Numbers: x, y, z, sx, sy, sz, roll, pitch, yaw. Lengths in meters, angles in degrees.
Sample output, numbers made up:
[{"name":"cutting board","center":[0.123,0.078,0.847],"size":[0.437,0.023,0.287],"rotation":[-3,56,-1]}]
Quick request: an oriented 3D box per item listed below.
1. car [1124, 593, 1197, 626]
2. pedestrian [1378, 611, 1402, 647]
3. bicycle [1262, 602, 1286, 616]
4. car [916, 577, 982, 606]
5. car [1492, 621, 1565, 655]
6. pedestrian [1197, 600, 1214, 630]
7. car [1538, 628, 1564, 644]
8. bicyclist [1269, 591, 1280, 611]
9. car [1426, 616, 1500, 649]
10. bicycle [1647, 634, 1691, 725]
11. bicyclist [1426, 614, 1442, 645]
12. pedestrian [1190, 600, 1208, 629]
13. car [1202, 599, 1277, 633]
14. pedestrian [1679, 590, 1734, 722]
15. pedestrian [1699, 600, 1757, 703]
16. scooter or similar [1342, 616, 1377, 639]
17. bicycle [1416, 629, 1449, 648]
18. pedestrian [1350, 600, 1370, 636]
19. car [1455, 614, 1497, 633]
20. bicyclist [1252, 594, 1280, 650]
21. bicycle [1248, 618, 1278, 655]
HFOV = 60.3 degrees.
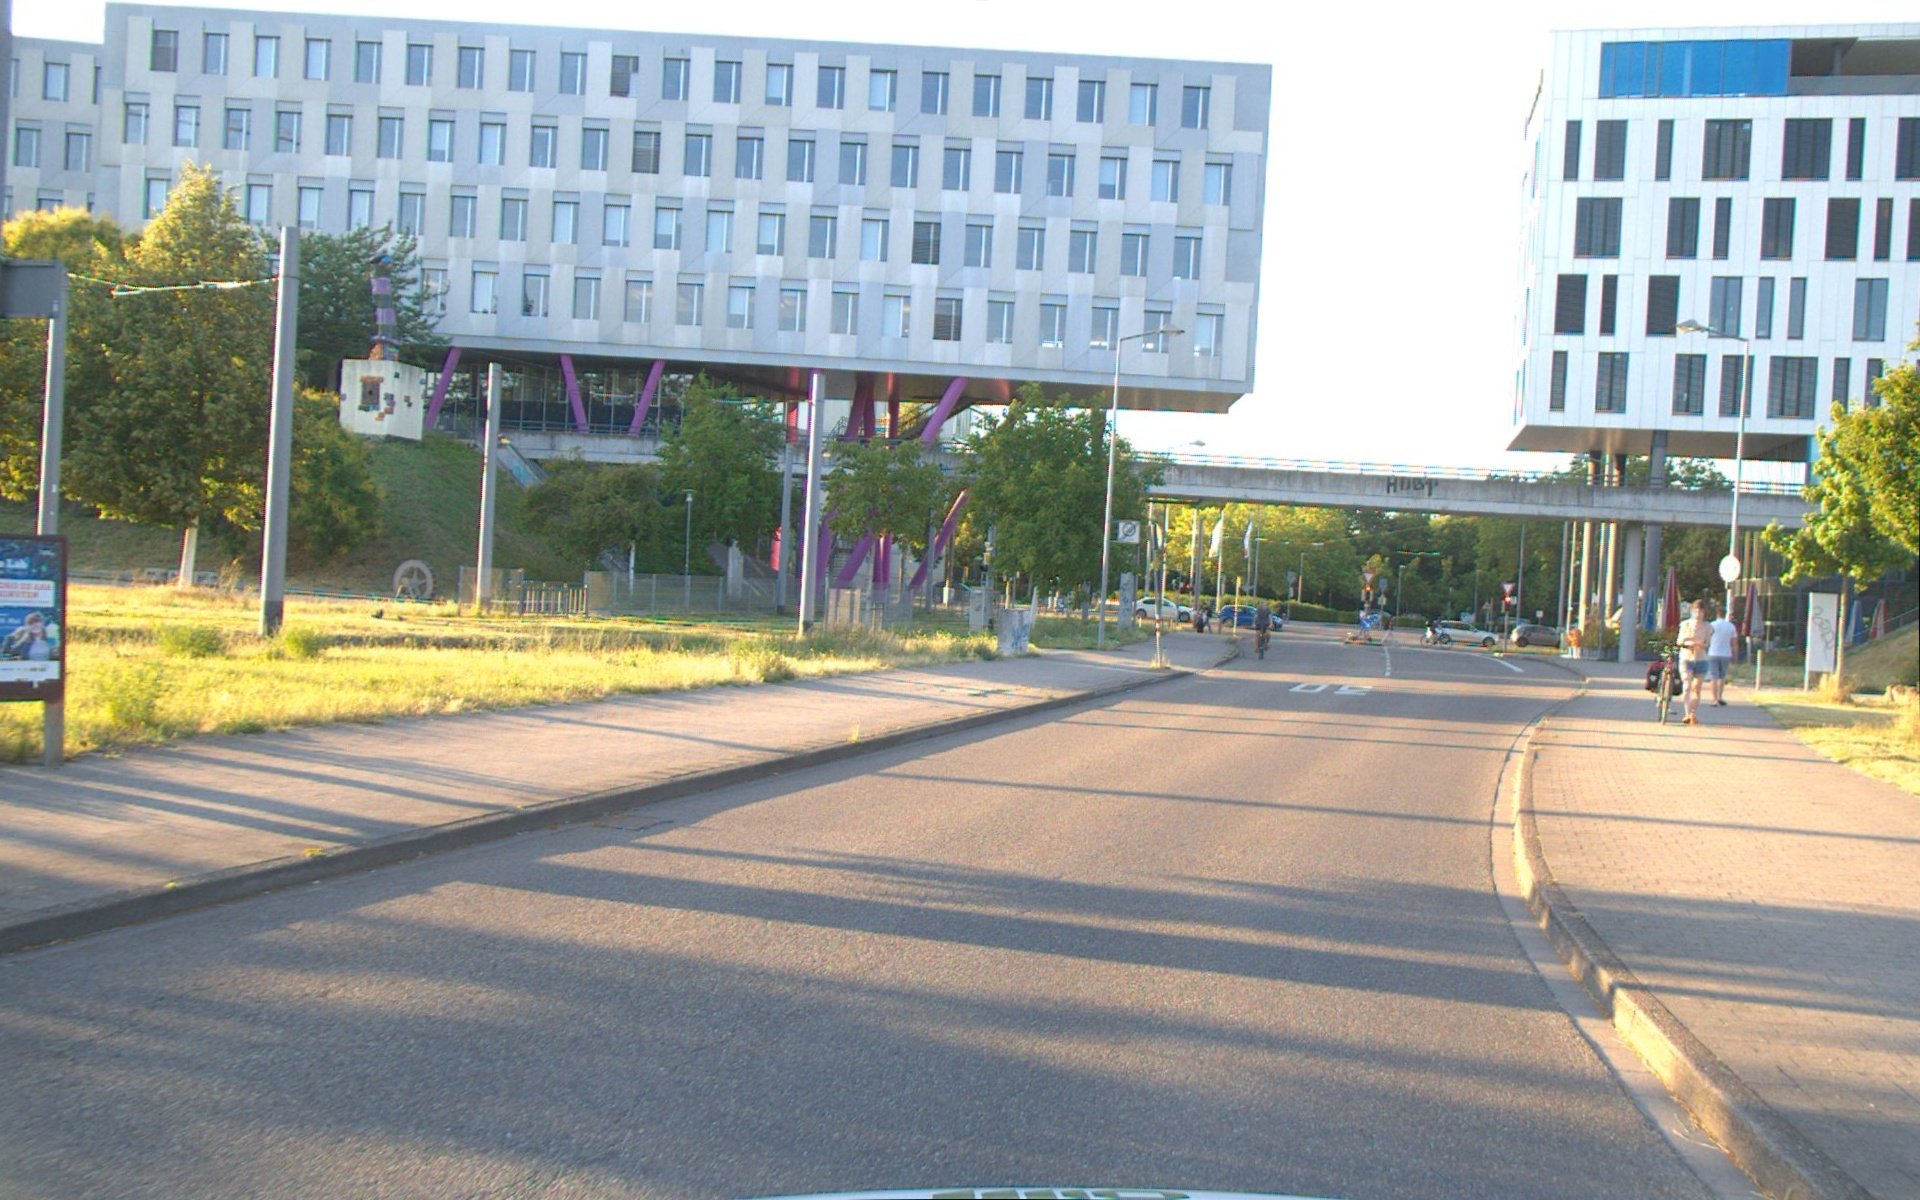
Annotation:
[{"name":"car","center":[13.552,0.643,111.879],"size":[4.589,1.859,1.836],"rotation":[4,2,16]},{"name":"pedestrian","center":[23.970,1.612,92.303],"size":[1.032,1.865,0.895],"rotation":[3,1,2]},{"name":"bicycle","center":[27.794,0.772,146.463],"size":[1.927,1.147,0.559],"rotation":[3,1,-10]},{"name":"car","center":[-0.814,-0.619,120.972],"size":[4.373,1.848,1.947],"rotation":[4,2,14]},{"name":"car","center":[36.746,2.455,107.036],"size":[4.321,1.830,1.836],"rotation":[4,2,16]},{"name":"pedestrian","center":[14.195,0.866,95.644],"size":[0.688,1.692,0.710],"rotation":[4,2,32]},{"name":"car","center":[62.852,3.832,175.881],"size":[1.475,1.634,3.383],"rotation":[4,2,41]},{"name":"bicyclist","center":[27.878,0.095,146.447],"size":[0.743,1.752,0.551],"rotation":[3,1,-10]},{"name":"car","center":[31.979,2.077,105.297],"size":[4.321,1.754,1.836],"rotation":[4,2,14]},{"name":"bicycle","center":[10.264,1.126,23.973],"size":[0.441,1.189,1.941],"rotation":[4,2,21]},{"name":"bicyclist","center":[27.007,1.671,94.216],"size":[0.750,1.734,0.513],"rotation":[3,1,8]},{"name":"pedestrian","center":[13.716,0.824,94.909],"size":[0.674,1.652,0.710],"rotation":[4,2,32]},{"name":"car","center":[18.111,1.029,107.439],"size":[4.614,1.859,1.894],"rotation":[4,1,6]},{"name":"pedestrian","center":[10.766,0.793,23.866],"size":[0.582,1.833,0.818],"rotation":[4,1,22]},{"name":"pedestrian","center":[13.931,0.918,30.013],"size":[0.815,1.797,0.818],"rotation":[4,1,22]},{"name":"scooter or similar","center":[22.986,1.568,95.156],"size":[1.820,1.194,0.765],"rotation":[4,1,7]},{"name":"bicycle","center":[26.915,2.182,94.235],"size":[1.657,0.964,0.512],"rotation":[4,1,7]},{"name":"pedestrian","center":[23.005,1.027,95.153],"size":[0.890,2.025,0.772],"rotation":[3,1,7]},{"name":"car","center":[61.310,2.806,196.462],"size":[4.590,1.901,2.013],"rotation":[4,2,22]},{"name":"bicyclist","center":[9.550,0.676,51.619],"size":[0.602,1.691,1.036],"rotation":[4,1,20]},{"name":"bicycle","center":[9.471,1.134,51.661],"size":[0.527,1.061,1.925],"rotation":[4,2,20]}]
